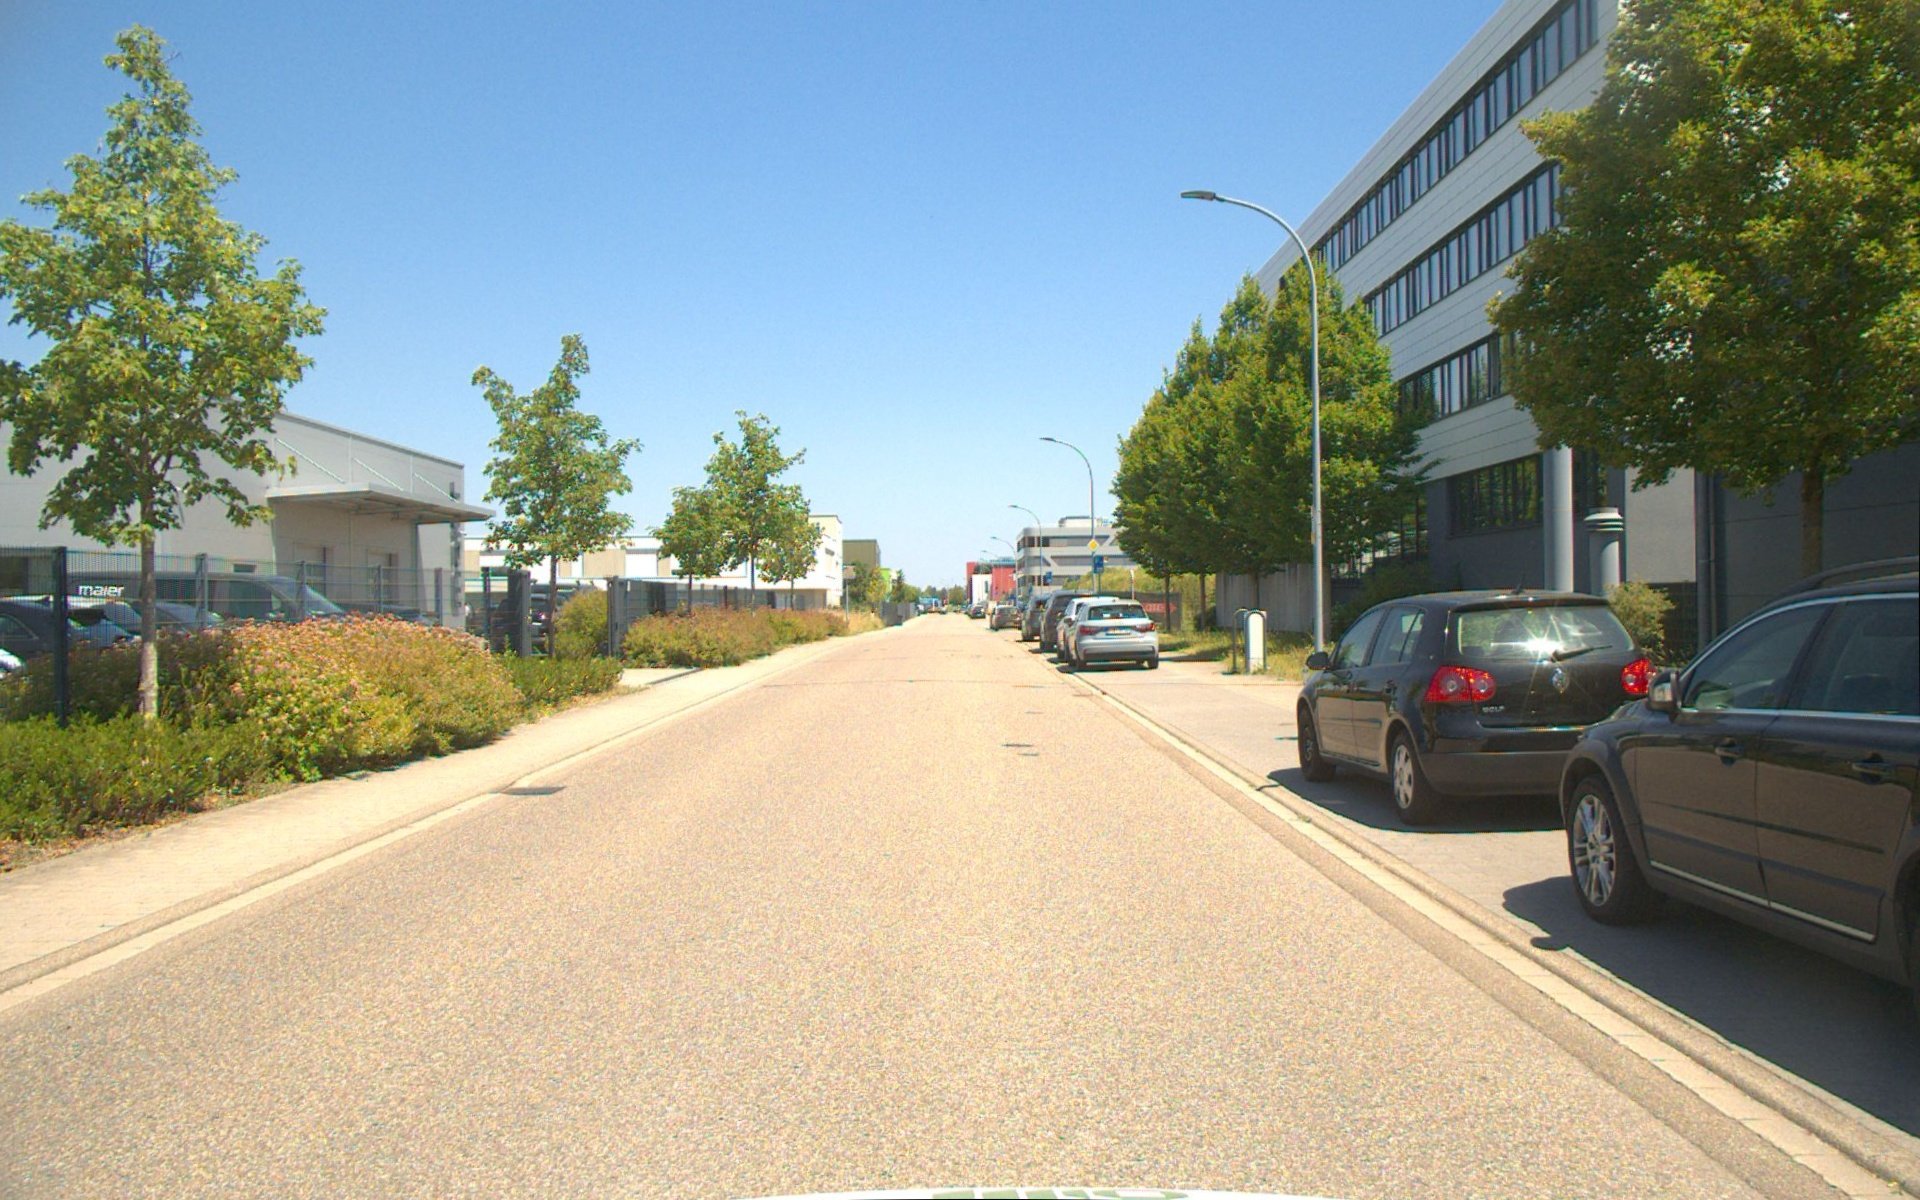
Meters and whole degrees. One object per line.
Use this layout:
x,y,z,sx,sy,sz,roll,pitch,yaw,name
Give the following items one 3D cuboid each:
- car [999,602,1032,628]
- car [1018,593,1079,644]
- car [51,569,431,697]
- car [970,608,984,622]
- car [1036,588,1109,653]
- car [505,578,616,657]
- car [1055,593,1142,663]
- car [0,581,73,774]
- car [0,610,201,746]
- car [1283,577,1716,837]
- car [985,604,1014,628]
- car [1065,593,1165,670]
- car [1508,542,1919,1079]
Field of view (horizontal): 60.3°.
3.333,0.898,99.462,1.868,1.473,4.001,-2,0,2,car
3.170,0.634,59.790,1.767,1.691,4.607,-3,0,-1,car
-10.914,0.485,25.377,4.956,1.883,1.964,0,0,-1,car
2.150,1.939,210.353,1.739,1.758,4.000,1,0,0,car
3.146,0.546,46.963,1.722,1.692,4.363,-2,0,0,car
-11.599,0.497,48.375,1.959,2.135,4.694,1,0,1,car
3.266,0.637,39.624,1.681,1.507,4.031,-3,0,0,car
-10.594,0.683,14.411,4.635,1.657,2.000,0,0,0,car
-11.097,0.891,19.629,3.302,1.524,1.904,0,0,-1,car
3.674,0.643,12.114,1.657,1.502,4.268,-2,0,-1,car
2.748,1.097,114.709,1.868,1.573,4.001,-2,0,2,car
3.223,0.629,35.040,1.681,1.448,3.951,-3,0,0,car
3.782,0.611,6.182,1.771,1.646,4.713,-2,0,-1,car
